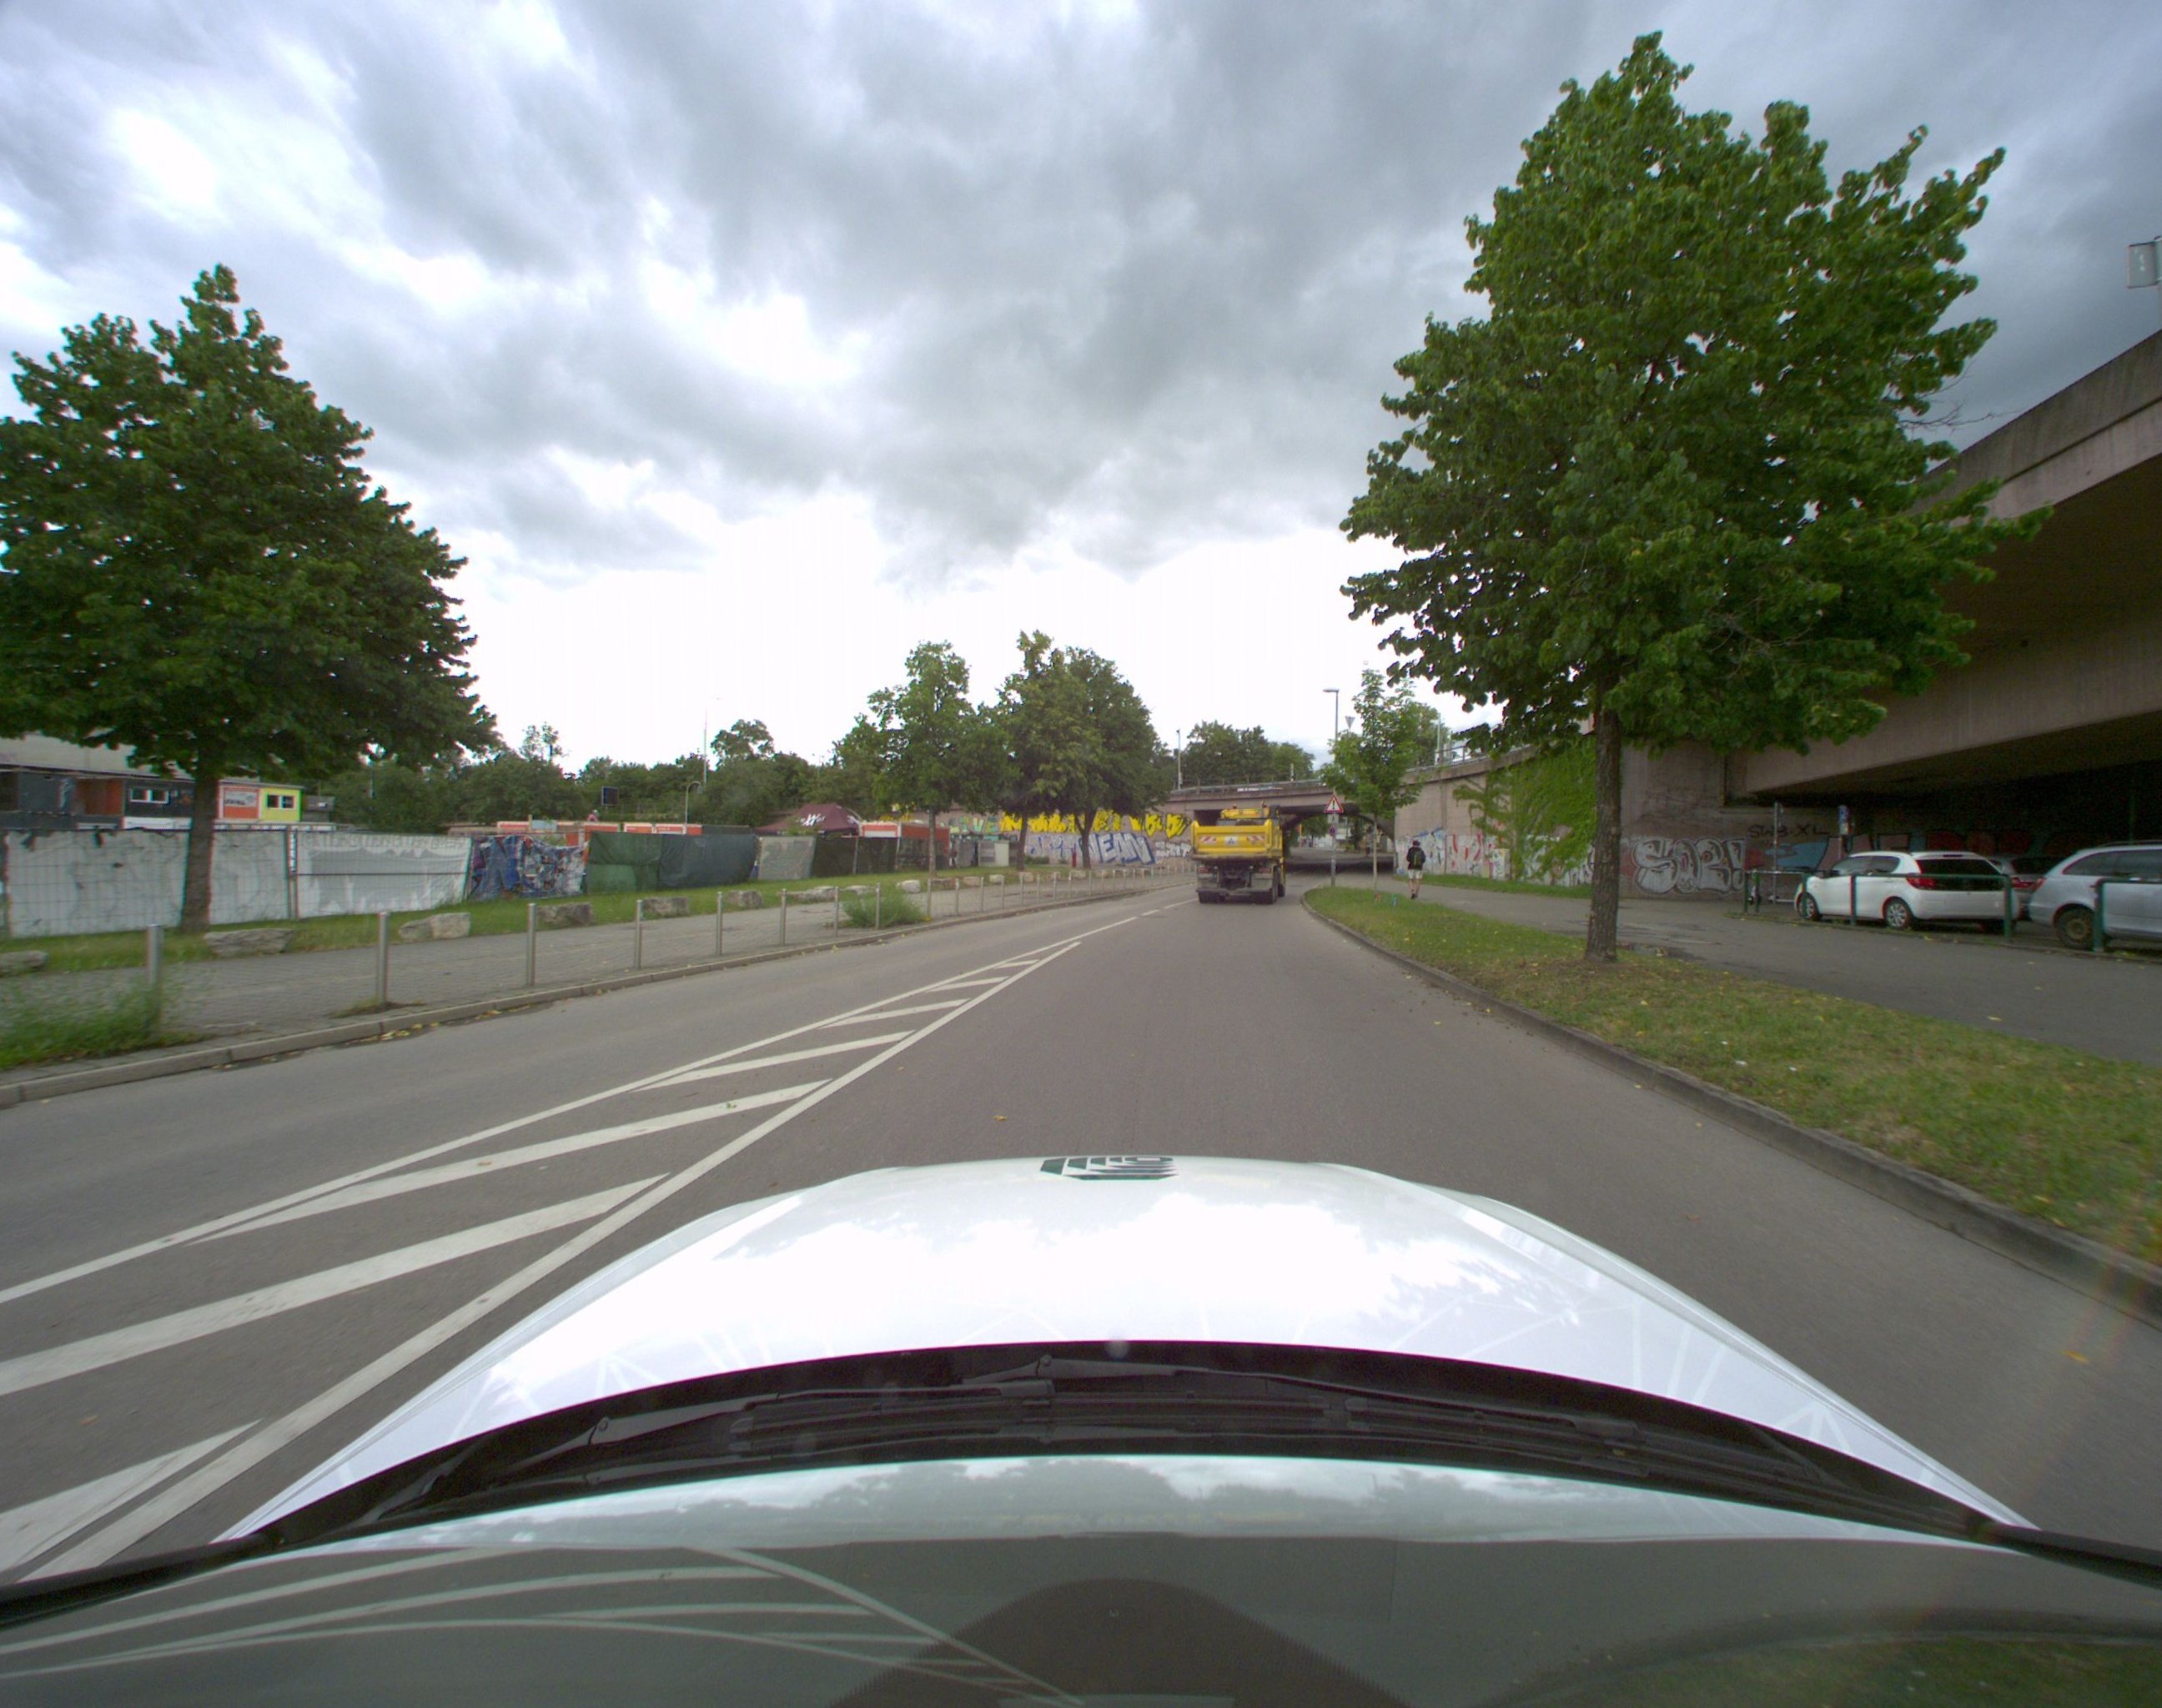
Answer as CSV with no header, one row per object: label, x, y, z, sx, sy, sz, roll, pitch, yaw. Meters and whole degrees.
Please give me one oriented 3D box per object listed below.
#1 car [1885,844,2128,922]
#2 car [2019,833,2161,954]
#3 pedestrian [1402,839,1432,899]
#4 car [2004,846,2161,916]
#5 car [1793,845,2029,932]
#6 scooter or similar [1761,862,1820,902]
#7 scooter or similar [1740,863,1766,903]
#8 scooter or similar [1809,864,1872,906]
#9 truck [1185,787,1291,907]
car,20.123,0.537,17.999,1.730,1.498,4.019,1,1,18
car,14.471,0.517,10.020,1.602,1.535,4.080,1,1,9
pedestrian,10.874,0.479,26.378,0.730,1.907,0.828,0,0,11
car,23.959,0.589,18.445,3.829,1.478,1.762,1,1,7
car,15.545,0.571,15.508,1.563,1.440,3.389,1,1,13
scooter or similar,21.267,0.815,24.450,0.269,1.129,1.431,0,0,-15
scooter or similar,19.660,0.822,23.812,1.688,1.129,0.266,0,0,-39
scooter or similar,22.401,0.897,24.050,0.269,1.168,1.431,0,0,-15
truck,5.890,-0.238,29.405,2.736,3.698,7.917,1,0,18
